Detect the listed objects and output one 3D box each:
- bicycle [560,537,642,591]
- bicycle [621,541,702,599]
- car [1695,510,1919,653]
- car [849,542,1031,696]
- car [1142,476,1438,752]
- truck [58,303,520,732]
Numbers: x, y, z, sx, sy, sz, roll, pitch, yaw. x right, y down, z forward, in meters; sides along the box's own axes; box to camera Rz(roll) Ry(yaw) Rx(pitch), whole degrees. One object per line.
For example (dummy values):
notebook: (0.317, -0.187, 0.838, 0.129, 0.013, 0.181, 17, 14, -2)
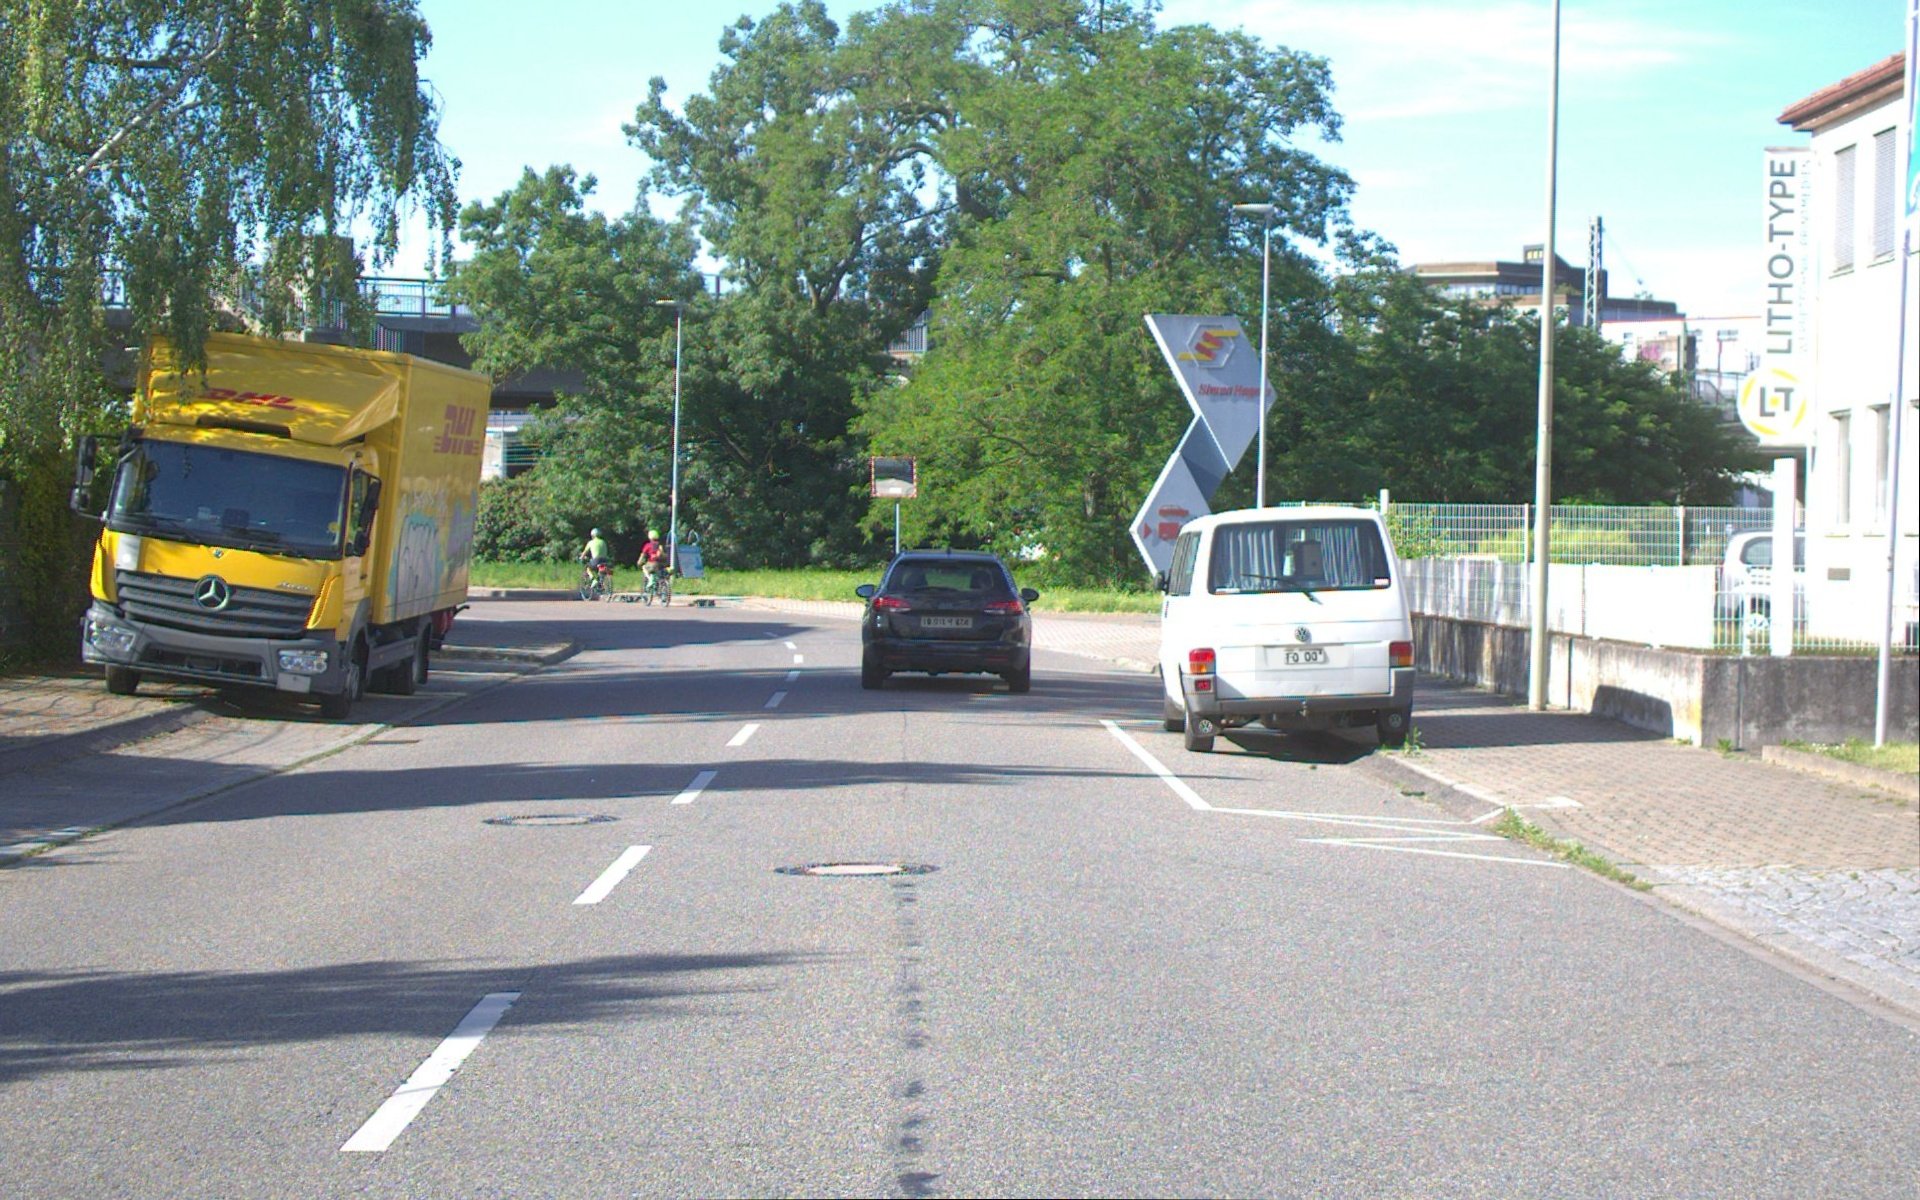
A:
bicycle: (-8.603, -0.863, 82.305, 0.804, 1.217, 2.258, 2, 1, -40)
bicycle: (-6.854, -0.689, 78.844, 0.803, 1.263, 2.258, 2, 1, -35)
car: (13.351, -0.301, 49.758, 1.875, 2.007, 5.158, -1, 2, -43)
car: (-0.193, 0.162, 36.878, 1.847, 1.525, 4.000, 0, 1, 0)
car: (2.622, 0.072, 28.466, 1.874, 2.007, 5.160, 2, 1, 0)
truck: (-6.454, -0.892, 34.544, 2.631, 3.493, 8.658, 6, 2, 0)
